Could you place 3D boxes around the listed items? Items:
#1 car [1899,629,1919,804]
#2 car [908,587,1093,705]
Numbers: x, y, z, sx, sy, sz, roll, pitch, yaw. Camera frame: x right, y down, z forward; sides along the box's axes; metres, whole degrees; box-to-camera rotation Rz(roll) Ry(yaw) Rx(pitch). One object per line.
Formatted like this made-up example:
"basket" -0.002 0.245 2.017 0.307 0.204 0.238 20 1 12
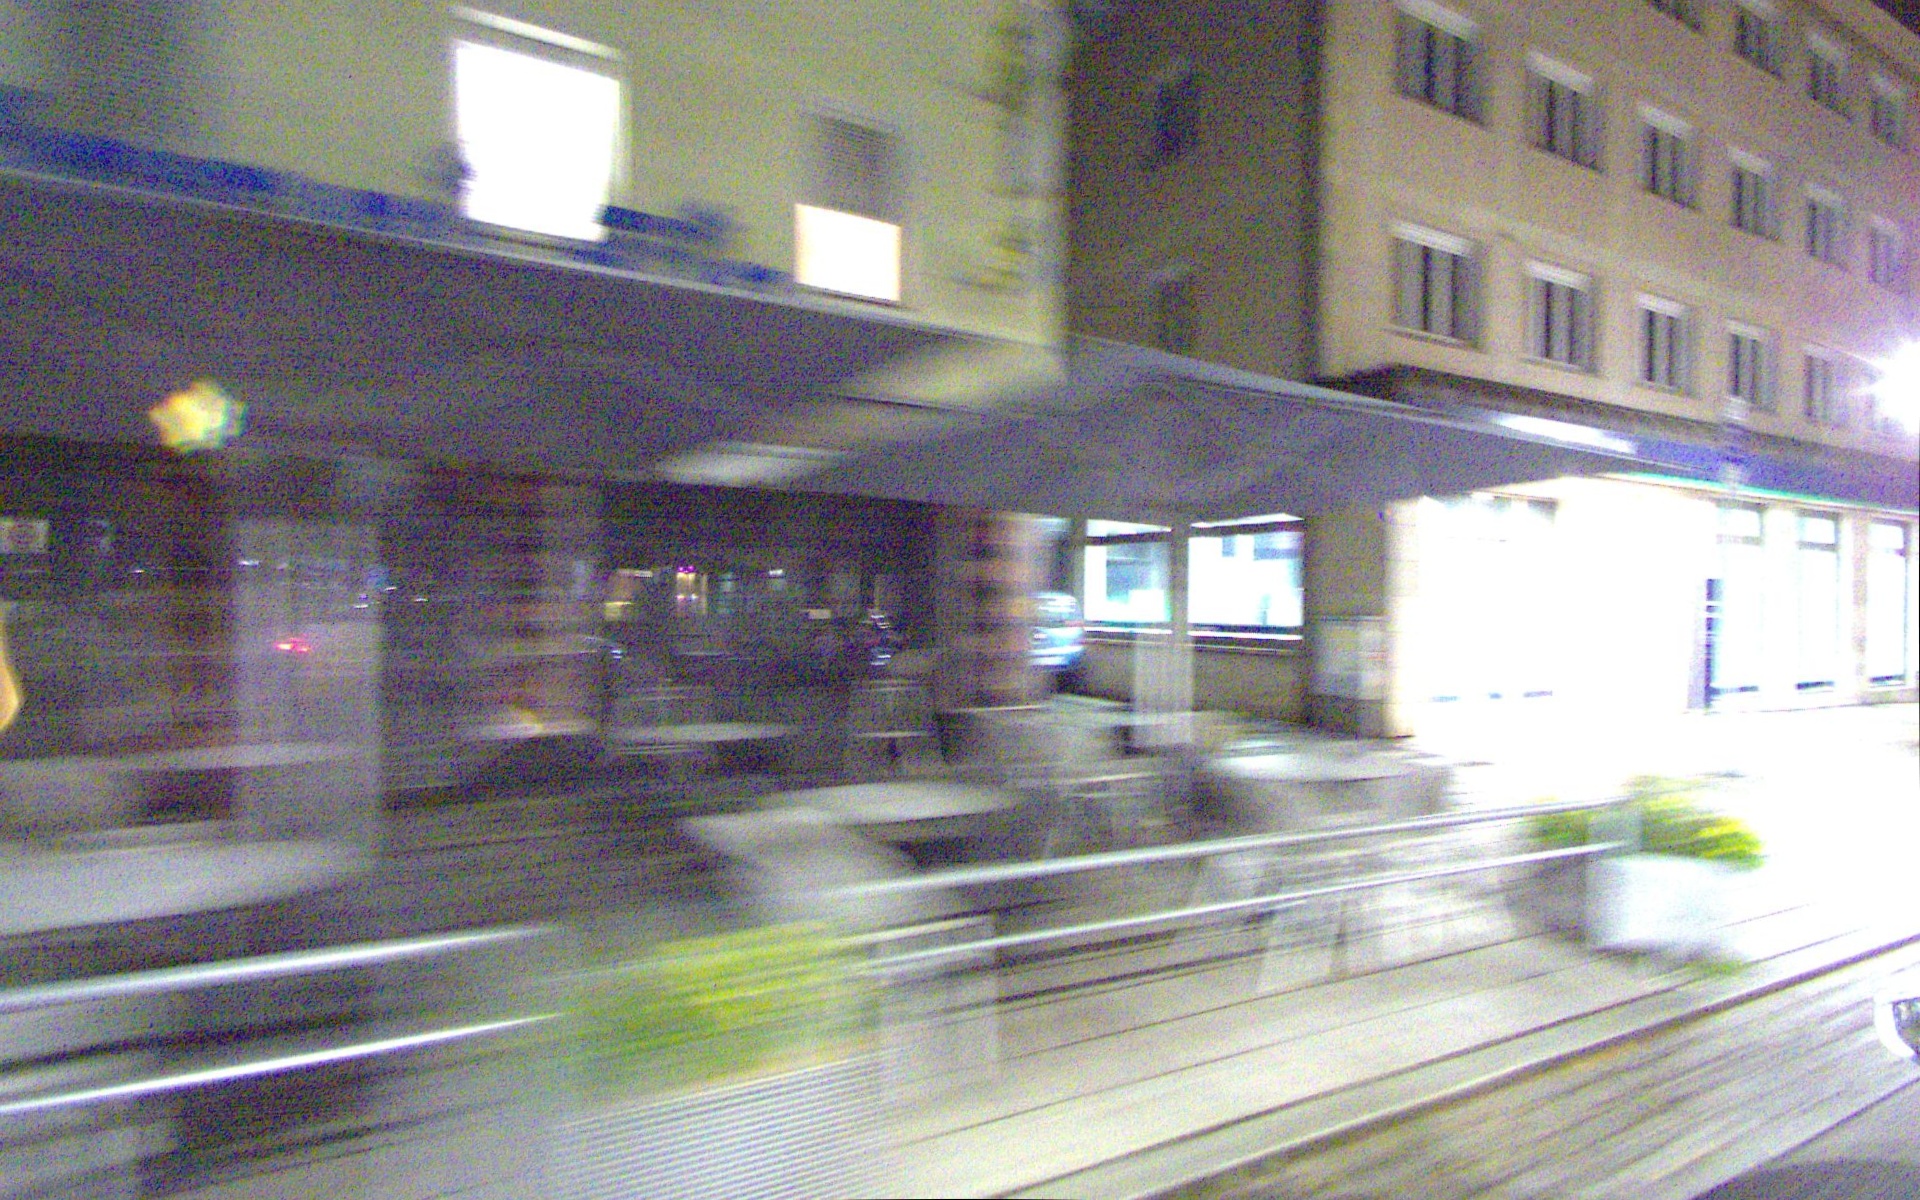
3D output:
"car" 10.522 1.050 9.109 4.475 1.490 1.889 1 0 -33
"car" 0.621 0.698 17.666 1.749 1.805 3.410 -1 2 -29
